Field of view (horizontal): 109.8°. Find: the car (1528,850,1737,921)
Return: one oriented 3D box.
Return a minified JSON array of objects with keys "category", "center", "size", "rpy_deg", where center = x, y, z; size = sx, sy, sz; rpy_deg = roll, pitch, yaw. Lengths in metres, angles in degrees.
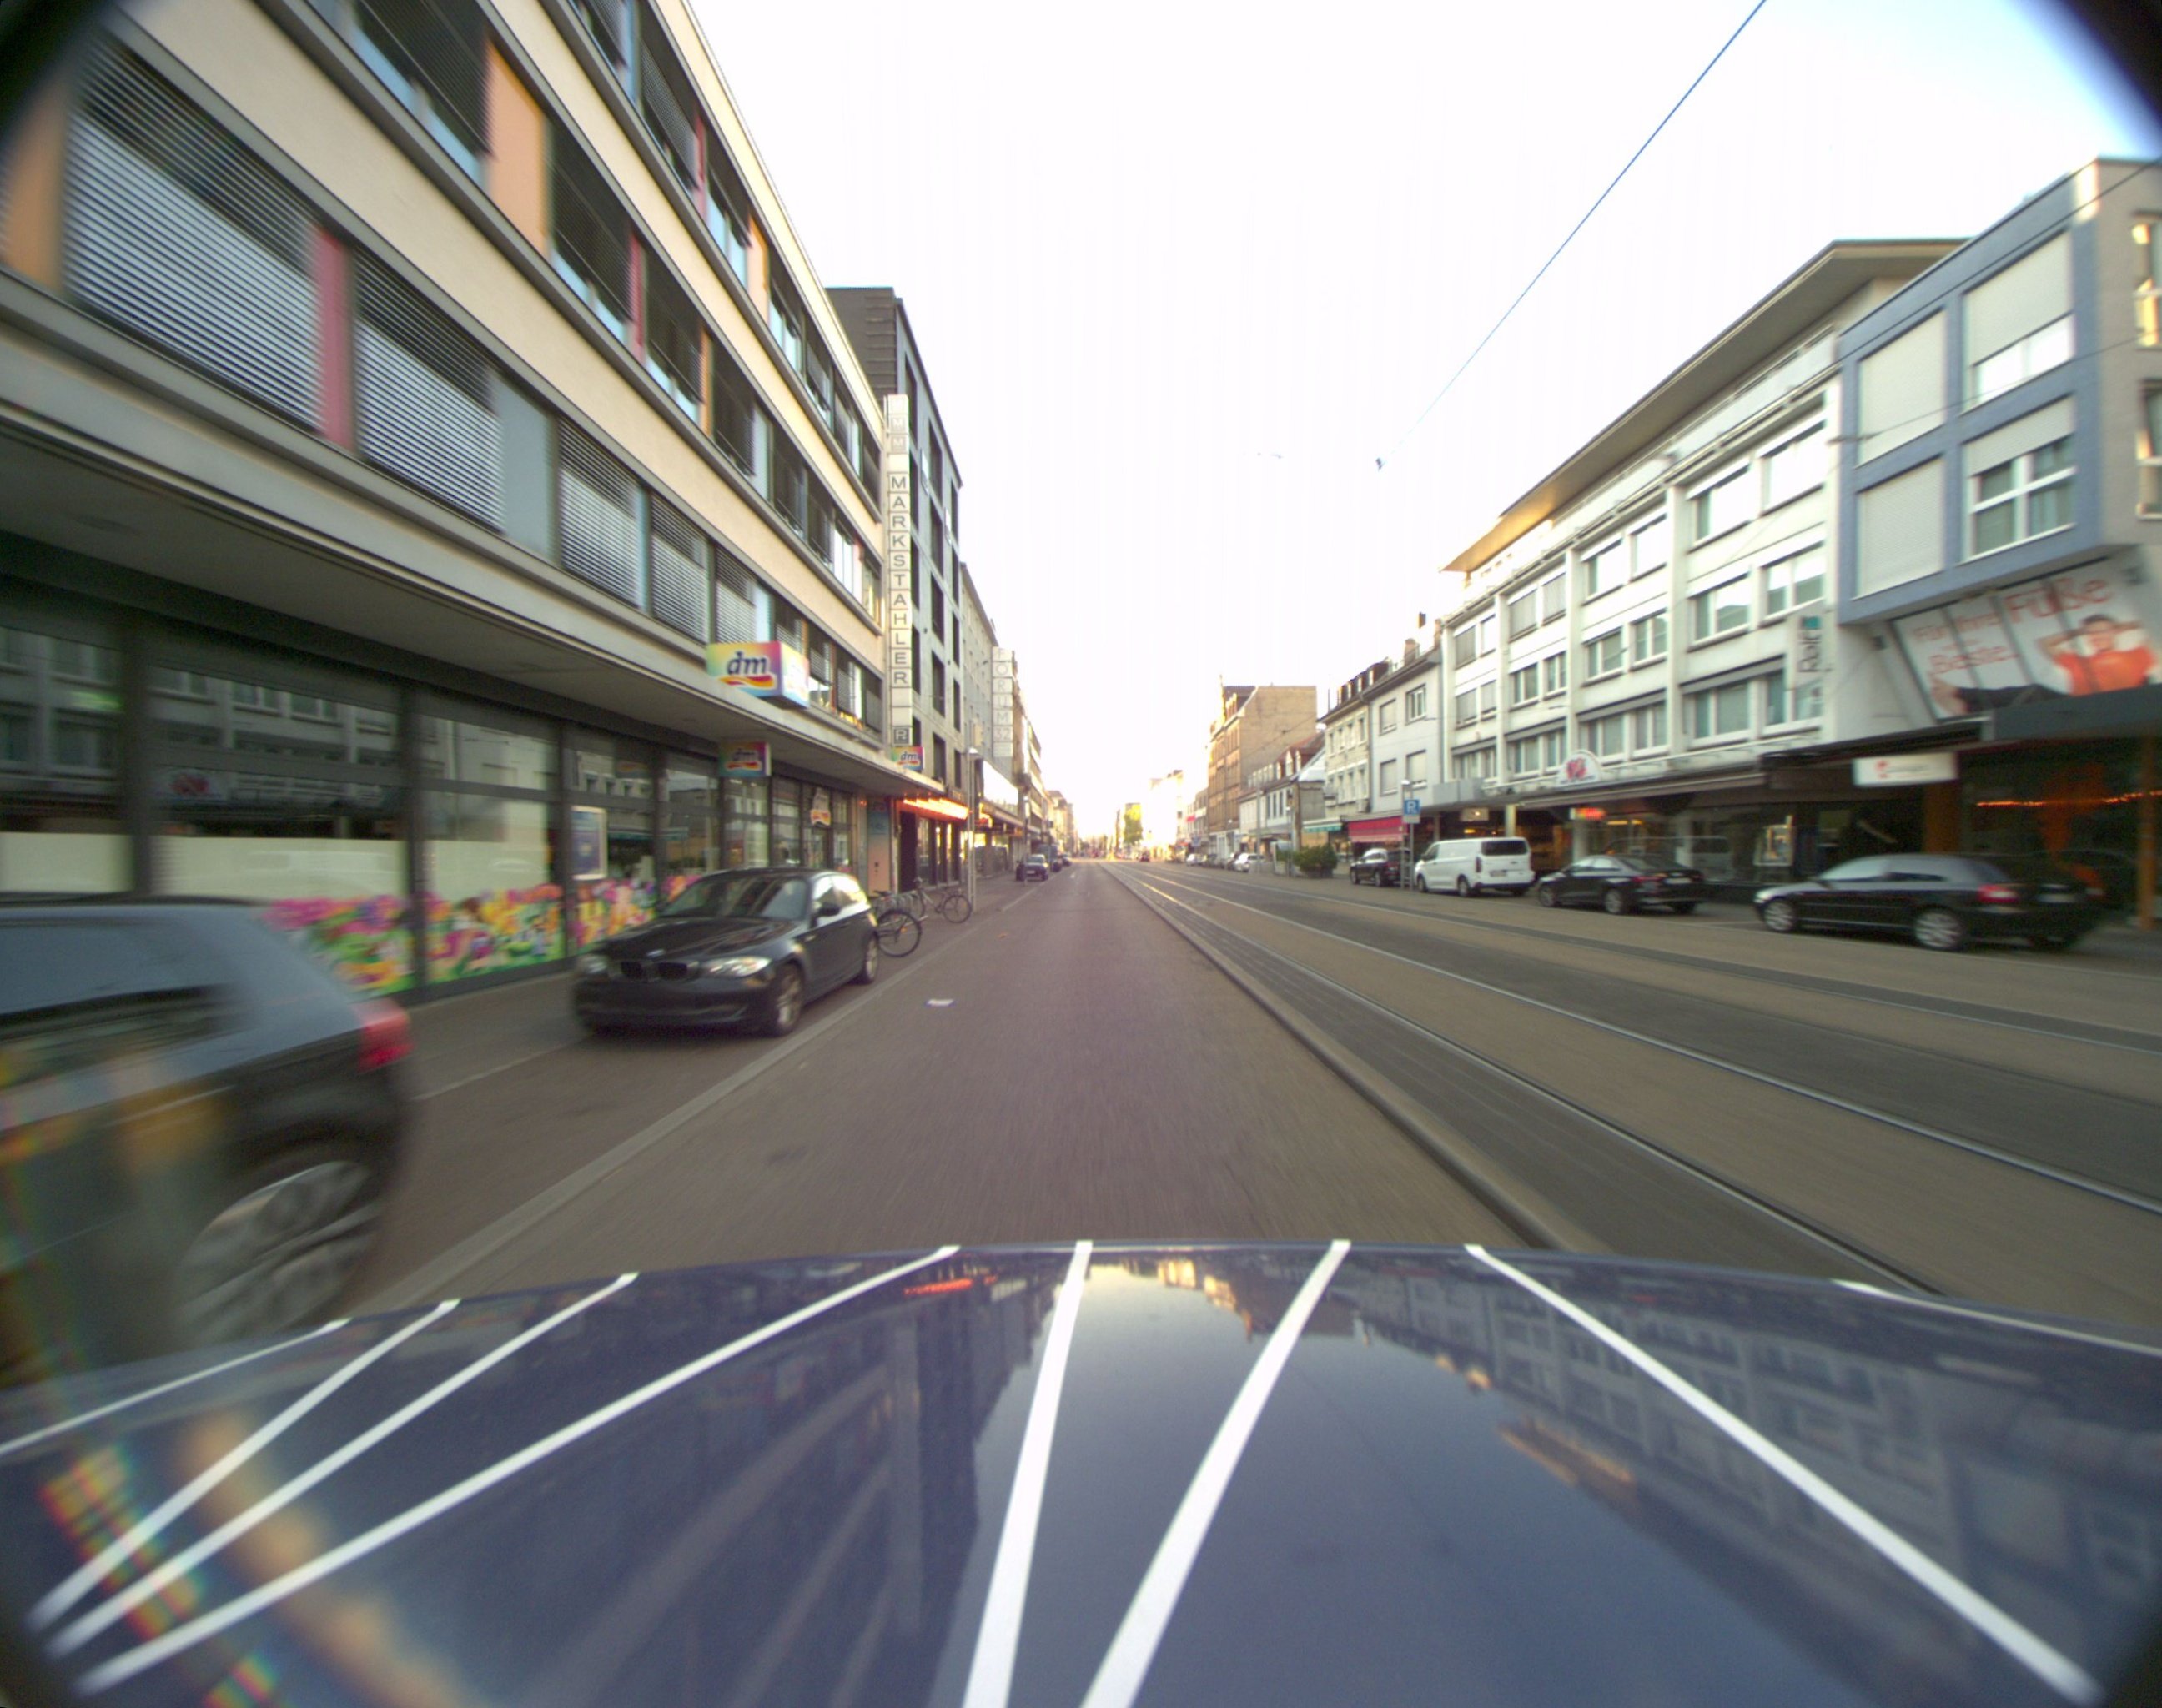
[{"category":"car","center":[13.367,0.681,18.856],"size":[1.876,1.418,4.570],"rpy_deg":[-3,1,1]}]

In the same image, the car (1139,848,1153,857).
[{"category":"car","center":[11.415,-0.272,132.983],"size":[1.999,1.554,3.999],"rpy_deg":[-3,1,0]}]

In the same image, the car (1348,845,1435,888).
[{"category":"car","center":[13.675,0.499,33.797],"size":[1.998,1.687,4.588],"rpy_deg":[-3,1,1]}]

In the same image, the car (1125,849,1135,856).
[{"category":"car","center":[11.558,-0.396,179.301],"size":[1.999,1.434,3.999],"rpy_deg":[-3,1,0]}]

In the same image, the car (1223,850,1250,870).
[{"category":"car","center":[13.472,0.518,65.970],"size":[1.660,1.562,3.470],"rpy_deg":[-3,1,1]}]

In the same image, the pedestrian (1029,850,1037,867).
[{"category":"pedestrian","center":[-4.877,0.449,76.906],"size":[0.743,1.746,0.789],"rpy_deg":[1,1,-3]}]

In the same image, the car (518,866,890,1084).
[{"category":"car","center":[-3.319,0.939,7.690],"size":[1.658,1.454,4.022],"rpy_deg":[-3,1,1]}]

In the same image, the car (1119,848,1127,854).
[{"category":"car","center":[11.640,-0.784,210.394],"size":[1.999,1.685,3.999],"rpy_deg":[-3,1,0]}]

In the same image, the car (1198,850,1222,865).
[{"category":"car","center":[13.820,0.362,81.565],"size":[1.846,1.484,3.815],"rpy_deg":[-3,1,1]}]

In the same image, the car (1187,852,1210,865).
[{"category":"car","center":[14.460,0.565,93.626],"size":[1.999,1.412,4.402],"rpy_deg":[-3,1,-2]}]

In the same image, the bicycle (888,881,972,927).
[{"category":"bicycle","center":[-3.416,1.130,17.300],"size":[1.799,0.967,0.575],"rpy_deg":[1,1,-2]}]

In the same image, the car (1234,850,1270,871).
[{"category":"car","center":[13.662,0.507,61.031],"size":[1.896,1.547,4.622],"rpy_deg":[-3,1,1]}]

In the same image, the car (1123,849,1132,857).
[{"category":"car","center":[11.910,-0.374,194.136],"size":[1.999,1.830,3.999],"rpy_deg":[-3,1,0]}]

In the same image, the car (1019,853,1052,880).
[{"category":"car","center":[-2.707,0.721,45.811],"size":[1.744,1.532,3.965],"rpy_deg":[-1,1,0]}]

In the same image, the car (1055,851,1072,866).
[{"category":"car","center":[-2.172,0.571,96.987],"size":[1.998,1.663,3.876],"rpy_deg":[-3,1,0]}]

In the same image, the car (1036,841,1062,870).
[{"category":"car","center":[-2.807,0.132,68.204],"size":[2.080,2.434,5.603],"rpy_deg":[-3,1,-1]}]

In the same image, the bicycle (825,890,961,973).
[{"category":"bicycle","center":[-2.801,1.149,11.459],"size":[1.844,1.103,0.642],"rpy_deg":[-2,1,-2]}]

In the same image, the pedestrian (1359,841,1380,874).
[{"category":"pedestrian","center":[16.114,0.180,42.398],"size":[0.819,1.772,0.818],"rpy_deg":[-3,1,1]}]

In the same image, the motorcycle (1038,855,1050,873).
[{"category":"motorcycle","center":[-2.980,0.759,61.157],"size":[0.785,1.396,2.637],"rpy_deg":[1,0,0]}]

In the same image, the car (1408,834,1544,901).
[{"category":"car","center":[13.477,0.395,26.330],"size":[1.969,2.002,5.099],"rpy_deg":[-3,1,0]}]

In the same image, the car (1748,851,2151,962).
[{"category":"car","center":[13.291,0.695,12.110],"size":[1.794,1.452,4.091],"rpy_deg":[0,0,2]}]

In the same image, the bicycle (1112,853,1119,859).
[{"category":"bicycle","center":[6.883,0.361,150.710],"size":[0.494,1.183,2.262],"rpy_deg":[-3,1,-19]}]

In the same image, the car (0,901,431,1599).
[{"category":"car","center":[-3.384,0.993,0.809],"size":[1.769,1.505,4.071],"rpy_deg":[-3,1,1]}]
